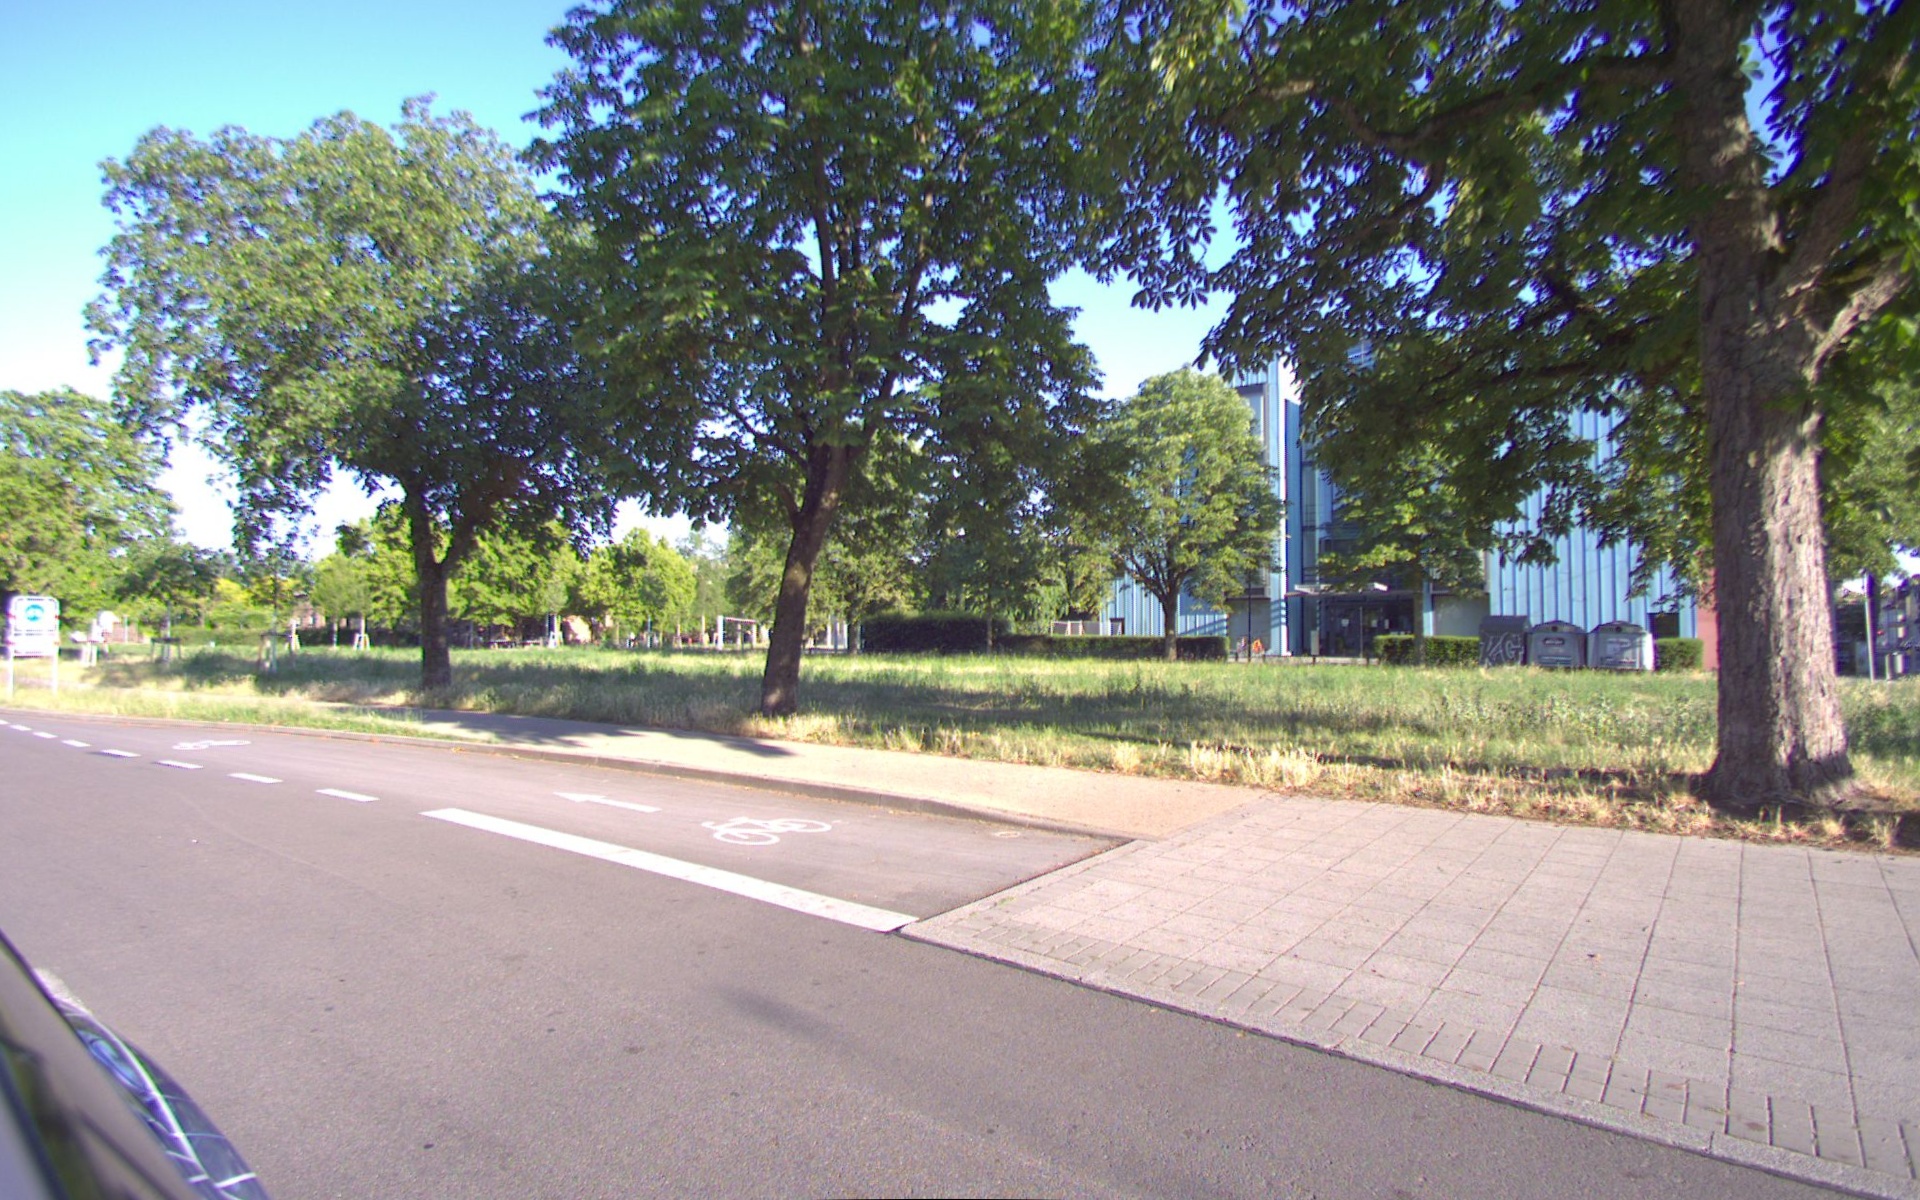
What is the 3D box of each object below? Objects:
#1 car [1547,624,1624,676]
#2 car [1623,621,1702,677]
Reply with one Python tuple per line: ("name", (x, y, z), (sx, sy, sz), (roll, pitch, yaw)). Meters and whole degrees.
("car", (21.800, 1.711, 35.166), (1.963, 1.684, 5.161), (-2, -3, 35))
("car", (23.591, 1.692, 33.899), (1.996, 1.684, 5.158), (-1, -4, 37))
